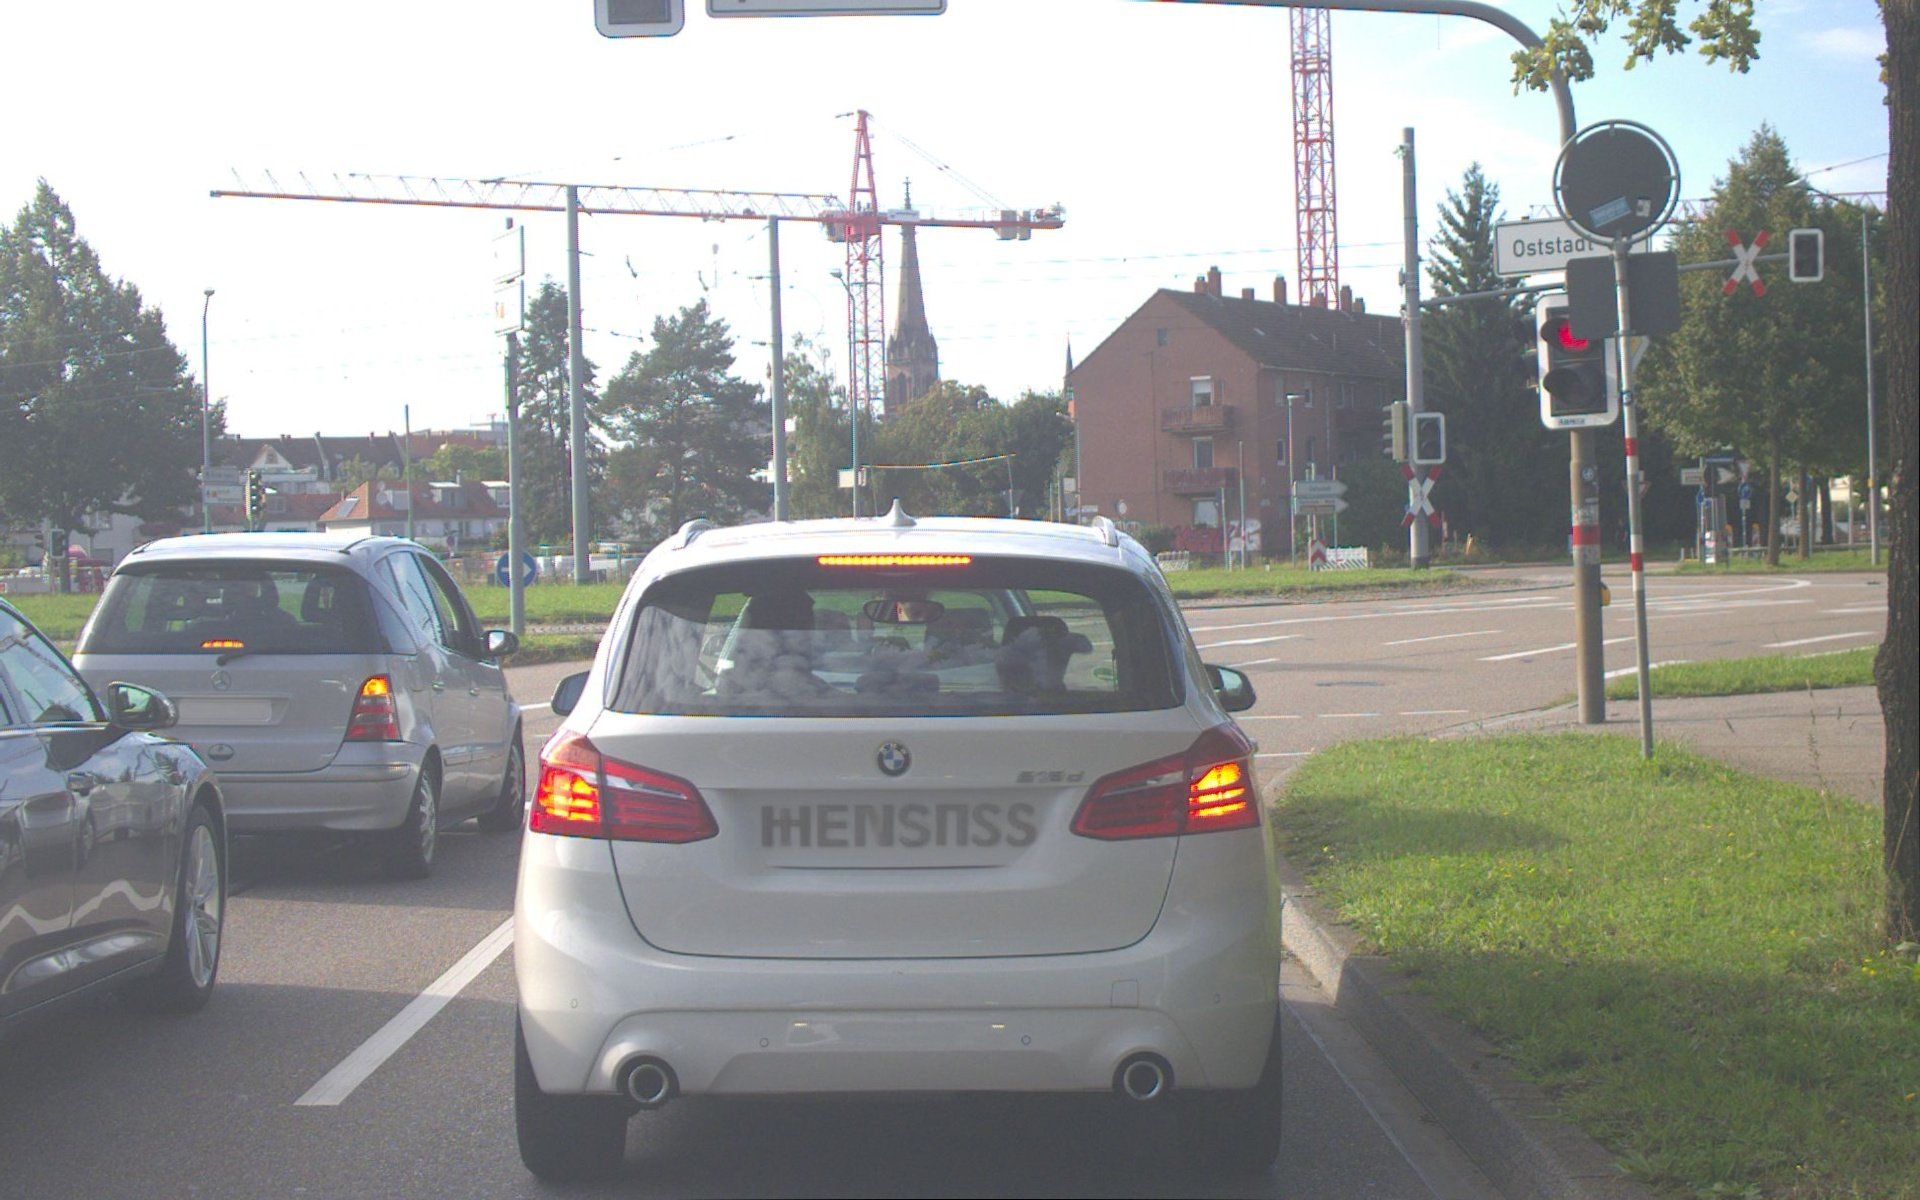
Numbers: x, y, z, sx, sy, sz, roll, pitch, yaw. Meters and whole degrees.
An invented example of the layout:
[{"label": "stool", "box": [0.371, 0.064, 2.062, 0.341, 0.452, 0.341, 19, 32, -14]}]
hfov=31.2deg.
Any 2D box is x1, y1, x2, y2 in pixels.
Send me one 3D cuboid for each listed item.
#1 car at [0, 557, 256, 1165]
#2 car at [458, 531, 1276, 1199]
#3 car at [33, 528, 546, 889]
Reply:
[{"label": "car", "box": [-3.295, 0.627, 9.307, 1.890, 1.478, 4.613, 0, 1, -1]}, {"label": "car", "box": [-0.224, 0.596, 9.315, 1.729, 1.553, 4.058, 0, 1, -1]}, {"label": "car", "box": [-3.127, 0.429, 16.805, 1.729, 1.553, 4.058, 0, 1, 0]}]
